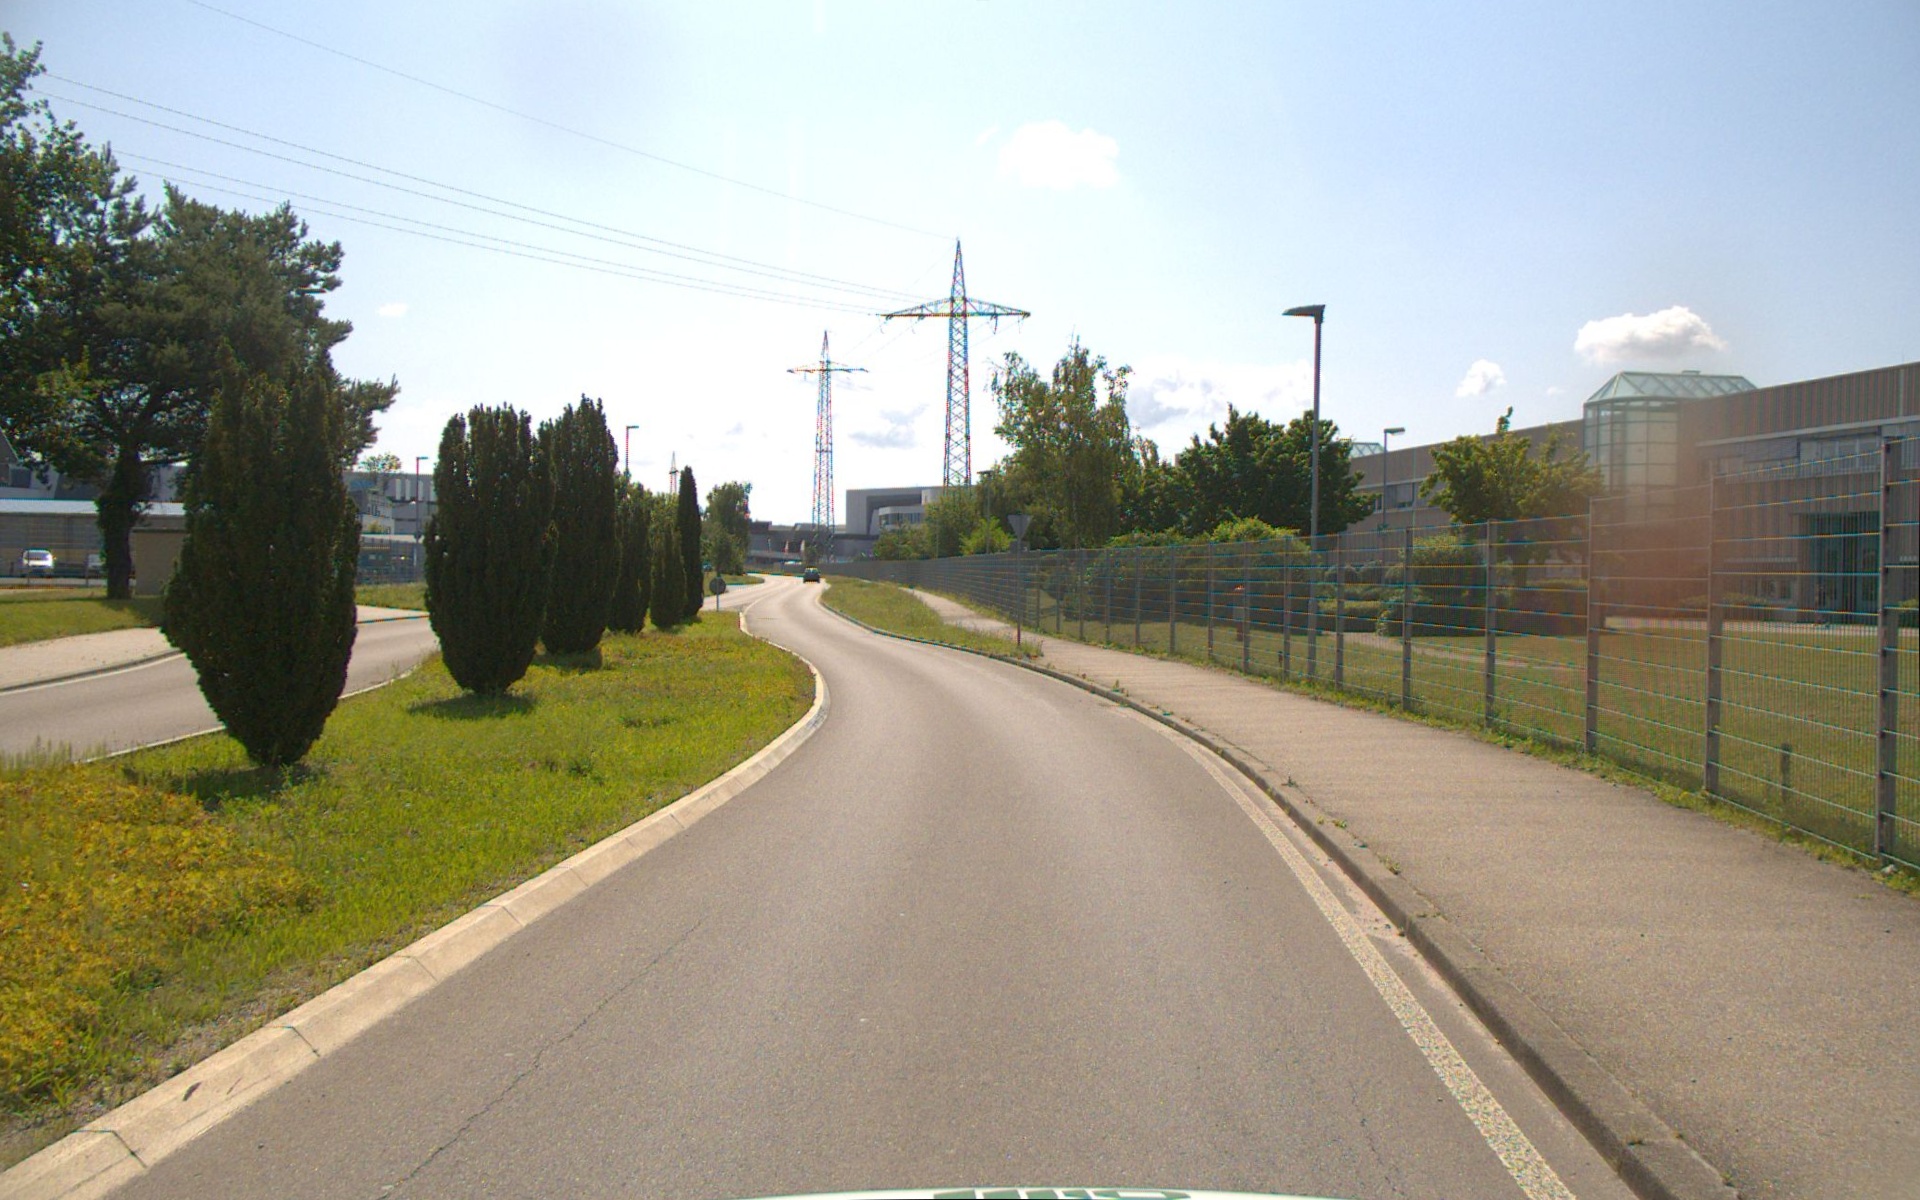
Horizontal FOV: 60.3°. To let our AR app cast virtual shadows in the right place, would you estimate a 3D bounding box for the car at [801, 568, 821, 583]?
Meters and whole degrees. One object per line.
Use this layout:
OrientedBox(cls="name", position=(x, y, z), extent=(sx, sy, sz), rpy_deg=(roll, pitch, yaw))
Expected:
OrientedBox(cls="car", position=(-15.776, -2.612, 175.009), extent=(1.974, 1.534, 3.994), rpy_deg=(1, 0, -7))
